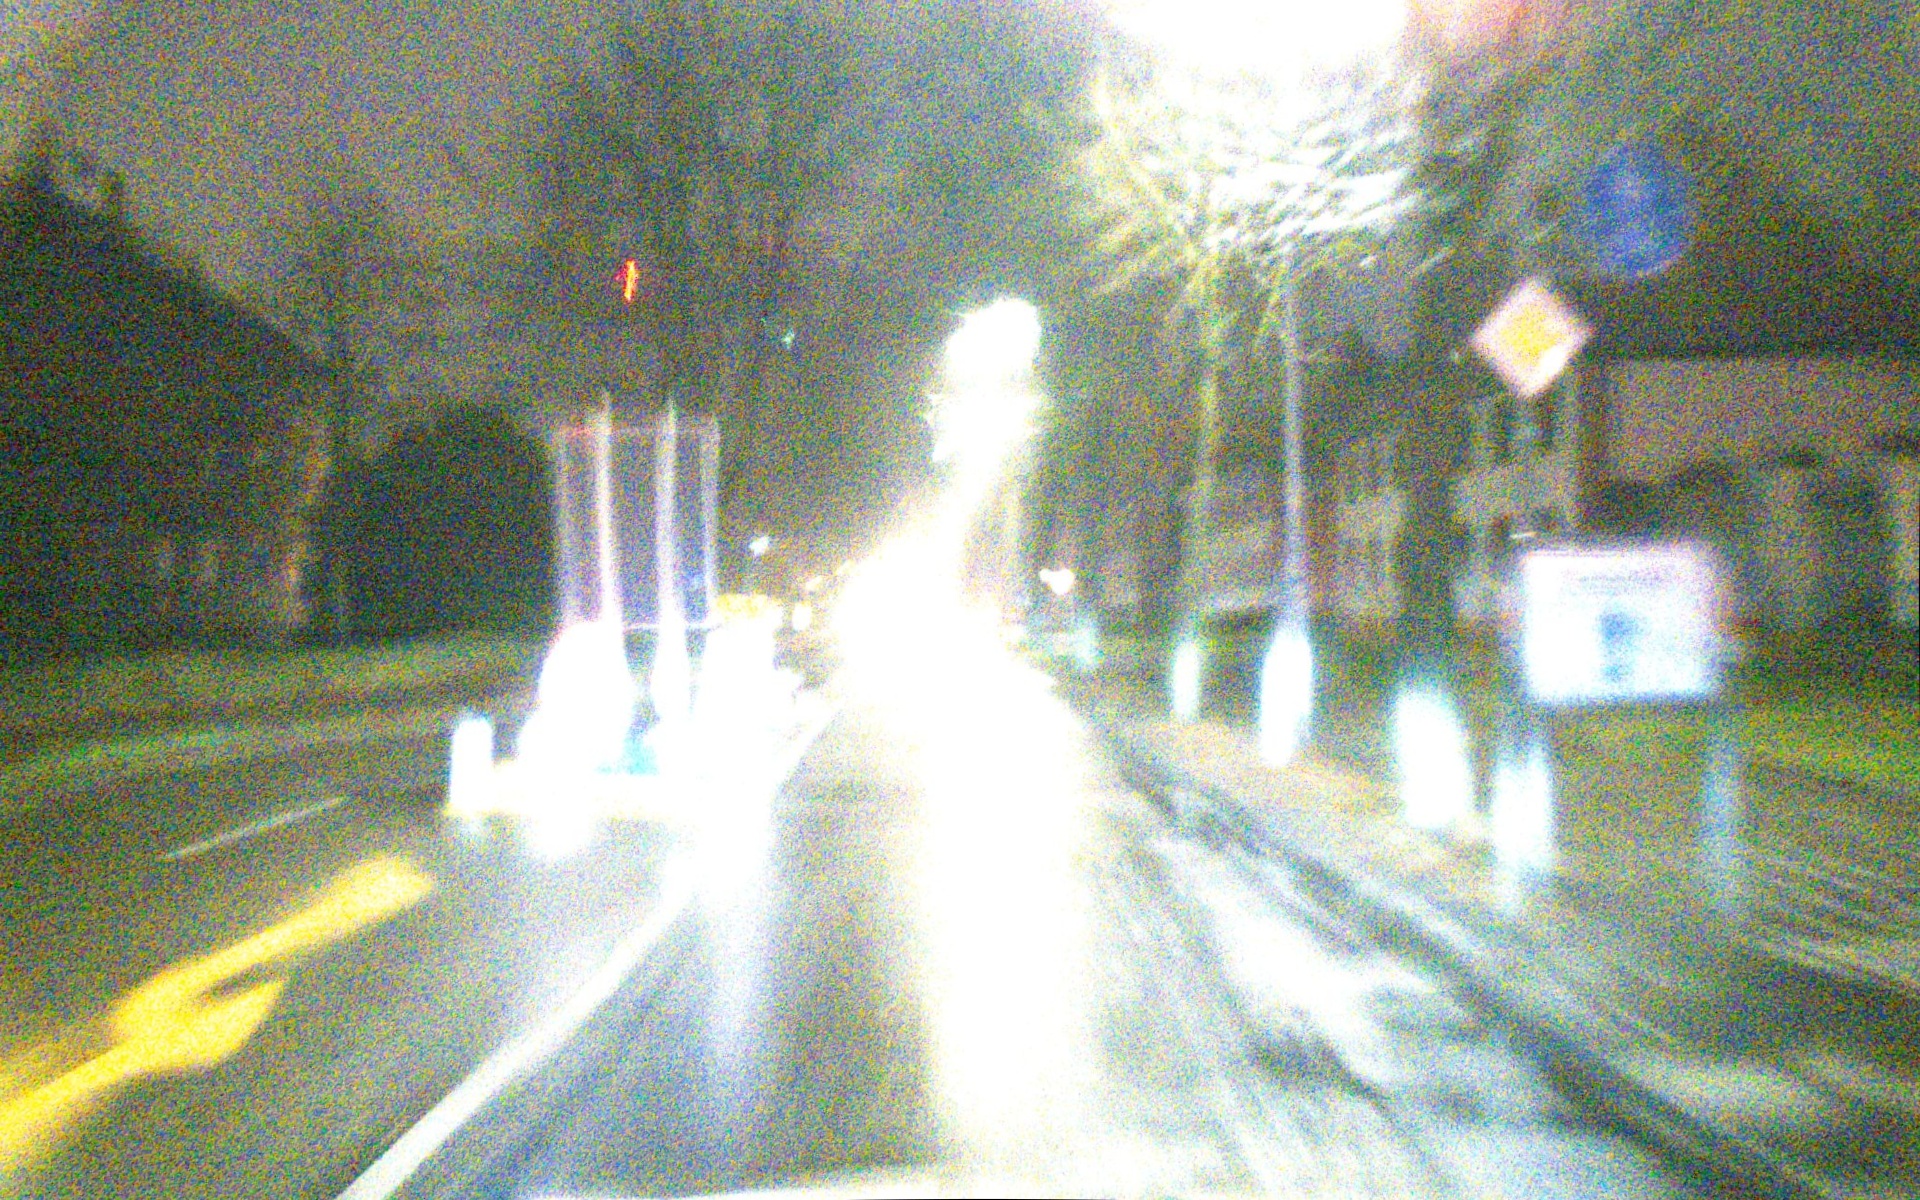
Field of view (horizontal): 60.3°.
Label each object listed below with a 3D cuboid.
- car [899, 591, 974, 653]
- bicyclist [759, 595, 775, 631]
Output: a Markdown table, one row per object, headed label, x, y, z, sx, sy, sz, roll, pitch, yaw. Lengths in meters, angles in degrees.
| label | x | y | z | sx | sy | sz | roll | pitch | yaw |
| --- | --- | --- | --- | --- | --- | --- | --- | --- | --- |
| car | -0.741 | 0.637 | 49.422 | 1.954 | 1.713 | 3.996 | 1 | 0 | -4 |
| bicyclist | -8.970 | 0.618 | 76.893 | 0.623 | 1.622 | 0.960 | 1 | 2 | -2 |
